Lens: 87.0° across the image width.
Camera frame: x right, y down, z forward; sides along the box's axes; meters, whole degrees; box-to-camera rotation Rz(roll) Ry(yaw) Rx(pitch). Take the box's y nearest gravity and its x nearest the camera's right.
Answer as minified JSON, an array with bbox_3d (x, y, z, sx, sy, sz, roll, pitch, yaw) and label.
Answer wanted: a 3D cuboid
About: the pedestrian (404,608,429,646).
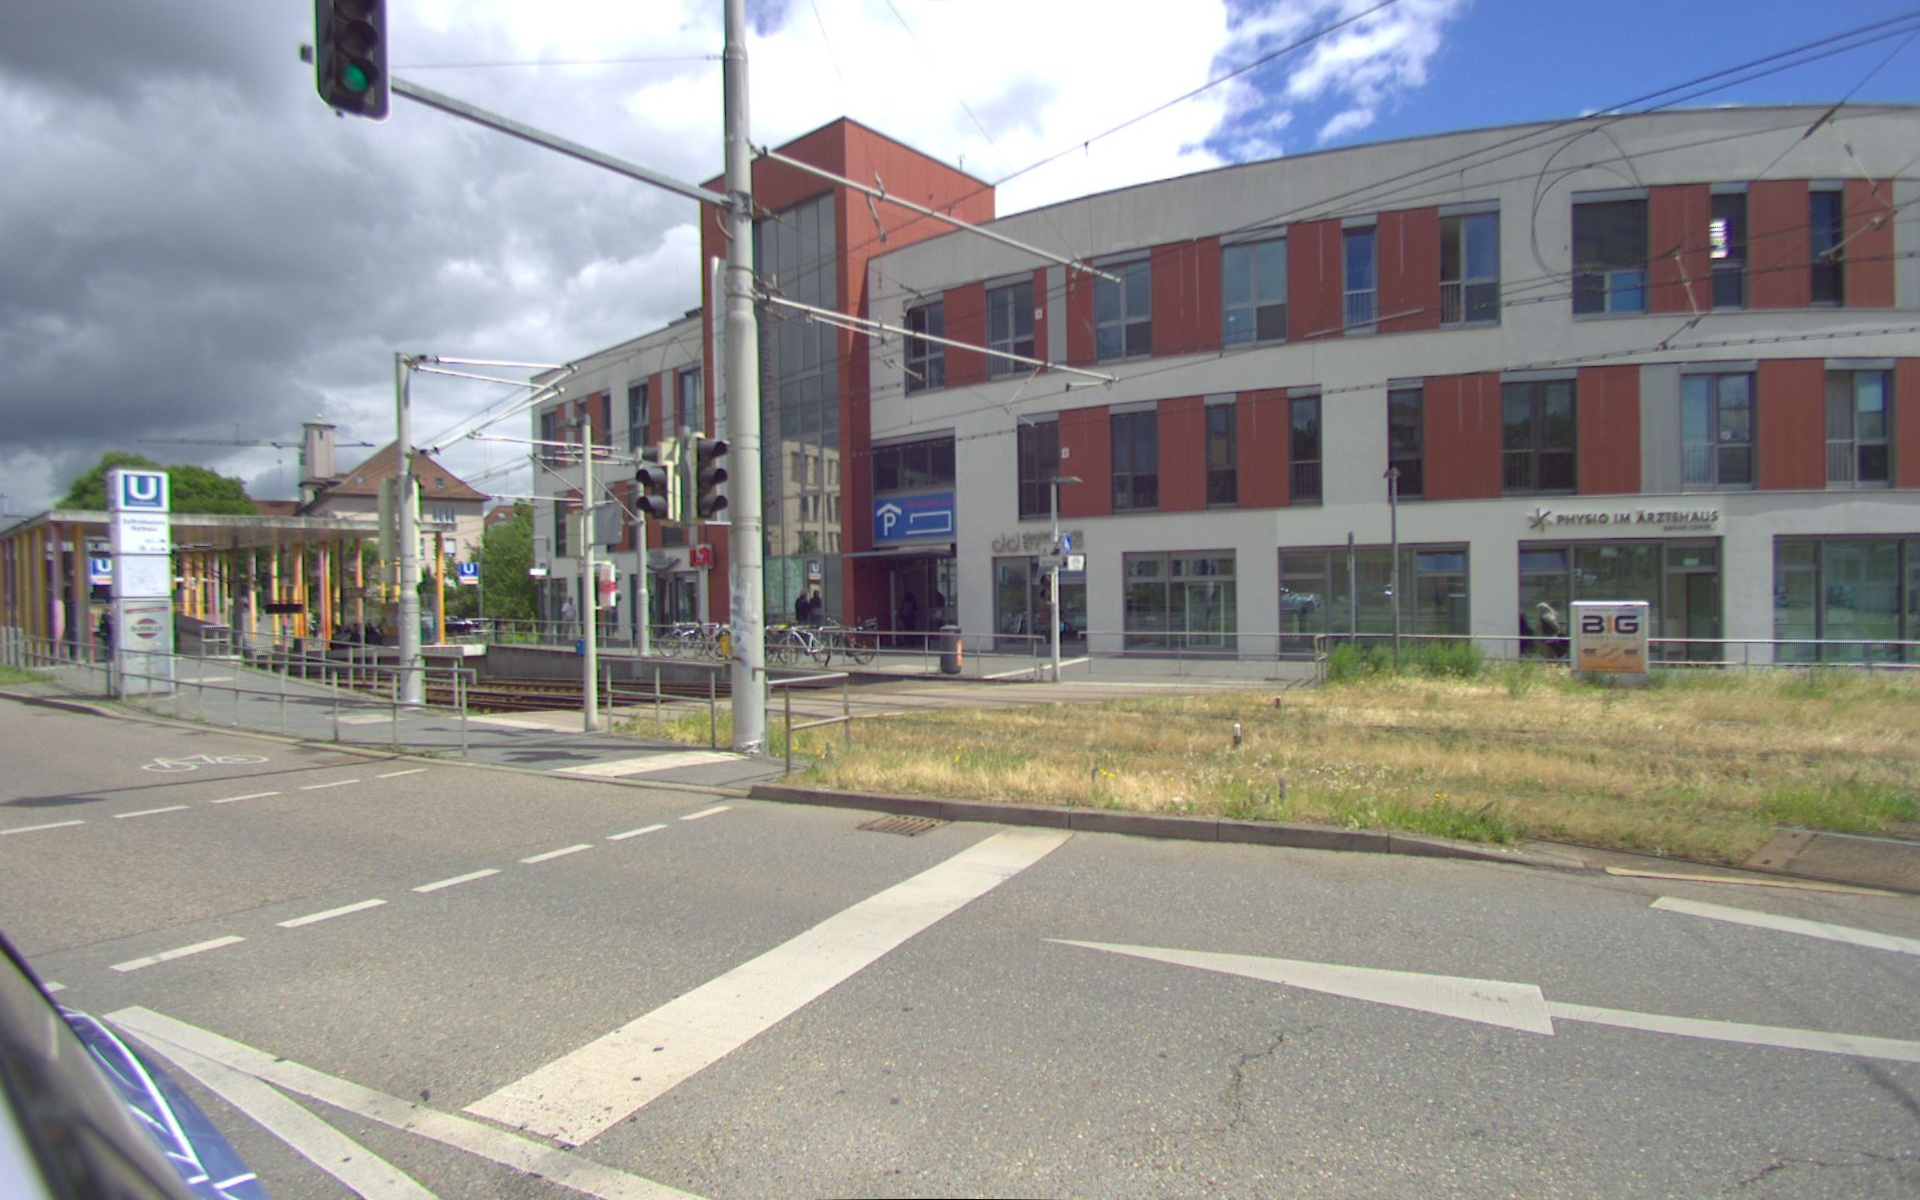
[{"bbox_3d":[-28.644,1.415,53.327,0.852,1.983,1.107,1,-1,-44],"label":"pedestrian"}]

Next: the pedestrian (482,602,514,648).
[{"bbox_3d":[-20.284,1.090,44.444,1.105,1.983,0.853,0,-1,39],"label":"pedestrian"}]

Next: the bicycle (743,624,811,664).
[{"bbox_3d":[-4.746,1.129,26.333,0.454,0.970,1.837,-1,0,43],"label":"bicycle"}]

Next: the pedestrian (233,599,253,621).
[{"bbox_3d":[-68.462,0.964,96.641,1.429,2.029,1.972,1,-1,-31],"label":"pedestrian"}]

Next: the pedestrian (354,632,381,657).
[{"bbox_3d":[-28.558,2.134,48.788,0.886,1.143,0.931,-2,-1,42],"label":"pedestrian"}]

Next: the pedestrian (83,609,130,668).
[{"bbox_3d":[-28.276,1.261,33.532,0.864,1.929,1.090,0,-1,42],"label":"pedestrian"}]

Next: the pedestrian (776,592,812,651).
[{"bbox_3d":[-5.319,0.667,32.478,0.856,1.859,0.876,0,1,13],"label":"pedestrian"}]

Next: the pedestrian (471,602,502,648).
[{"bbox_3d":[-21.114,1.108,45.154,1.105,1.983,0.853,0,-1,39],"label":"pedestrian"}]

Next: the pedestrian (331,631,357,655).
[{"bbox_3d":[-30.814,2.140,50.615,0.886,1.143,0.931,-2,-1,42],"label":"pedestrian"}]

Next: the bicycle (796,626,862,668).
[{"bbox_3d":[-3.231,1.139,25.071,0.428,0.965,1.716,-1,0,43],"label":"bicycle"}]

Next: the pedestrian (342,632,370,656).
[{"bbox_3d":[-29.407,2.133,49.262,0.886,1.143,0.931,-2,-1,42],"label":"pedestrian"}]

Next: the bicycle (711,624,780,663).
[{"bbox_3d":[-5.704,1.140,26.981,1.836,0.946,0.455,0,0,-45],"label":"bicycle"}]

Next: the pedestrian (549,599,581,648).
[{"bbox_3d":[-16.382,0.954,41.982,1.106,1.983,0.852,0,-1,43],"label":"pedestrian"}]

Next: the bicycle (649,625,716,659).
[{"bbox_3d":[-7.883,1.192,28.827,1.834,0.888,0.455,0,0,-41],"label":"bicycle"}]

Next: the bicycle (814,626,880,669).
[{"bbox_3d":[-2.744,1.140,24.668,0.428,0.959,1.716,-1,0,43],"label":"bicycle"}]

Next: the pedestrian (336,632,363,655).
[{"bbox_3d":[-30.124,2.136,49.897,0.886,1.143,0.931,-2,-1,42],"label":"pedestrian"}]

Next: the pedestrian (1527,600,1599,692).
[{"bbox_3d":[13.418,1.010,22.550,1.102,1.983,0.863,0,-1,6],"label":"pedestrian"}]

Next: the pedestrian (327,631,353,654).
[{"bbox_3d":[-31.373,2.132,51.205,0.886,1.143,0.931,-2,-1,42],"label":"pedestrian"}]

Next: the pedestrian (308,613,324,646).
[{"bbox_3d":[-39.642,1.825,62.282,0.773,2.029,0.610,-2,-1,34],"label":"pedestrian"}]

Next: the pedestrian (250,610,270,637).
[{"bbox_3d":[-54.510,1.834,78.786,1.112,2.029,1.180,0,-2,-44],"label":"pedestrian"}]

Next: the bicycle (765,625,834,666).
[{"bbox_3d":[-4.062,1.140,25.698,0.454,0.942,1.837,-1,0,43],"label":"bicycle"}]

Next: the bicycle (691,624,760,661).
[{"bbox_3d":[-6.377,1.153,27.580,1.835,0.929,0.455,0,0,-42],"label":"bicycle"}]

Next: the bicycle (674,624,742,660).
[{"bbox_3d":[-6.989,1.156,28.139,1.835,0.939,0.455,0,0,-41],"label":"bicycle"}]

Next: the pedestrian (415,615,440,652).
[{"bbox_3d":[-28.291,1.767,53.763,0.852,1.983,1.107,1,-1,-44],"label":"pedestrian"}]
